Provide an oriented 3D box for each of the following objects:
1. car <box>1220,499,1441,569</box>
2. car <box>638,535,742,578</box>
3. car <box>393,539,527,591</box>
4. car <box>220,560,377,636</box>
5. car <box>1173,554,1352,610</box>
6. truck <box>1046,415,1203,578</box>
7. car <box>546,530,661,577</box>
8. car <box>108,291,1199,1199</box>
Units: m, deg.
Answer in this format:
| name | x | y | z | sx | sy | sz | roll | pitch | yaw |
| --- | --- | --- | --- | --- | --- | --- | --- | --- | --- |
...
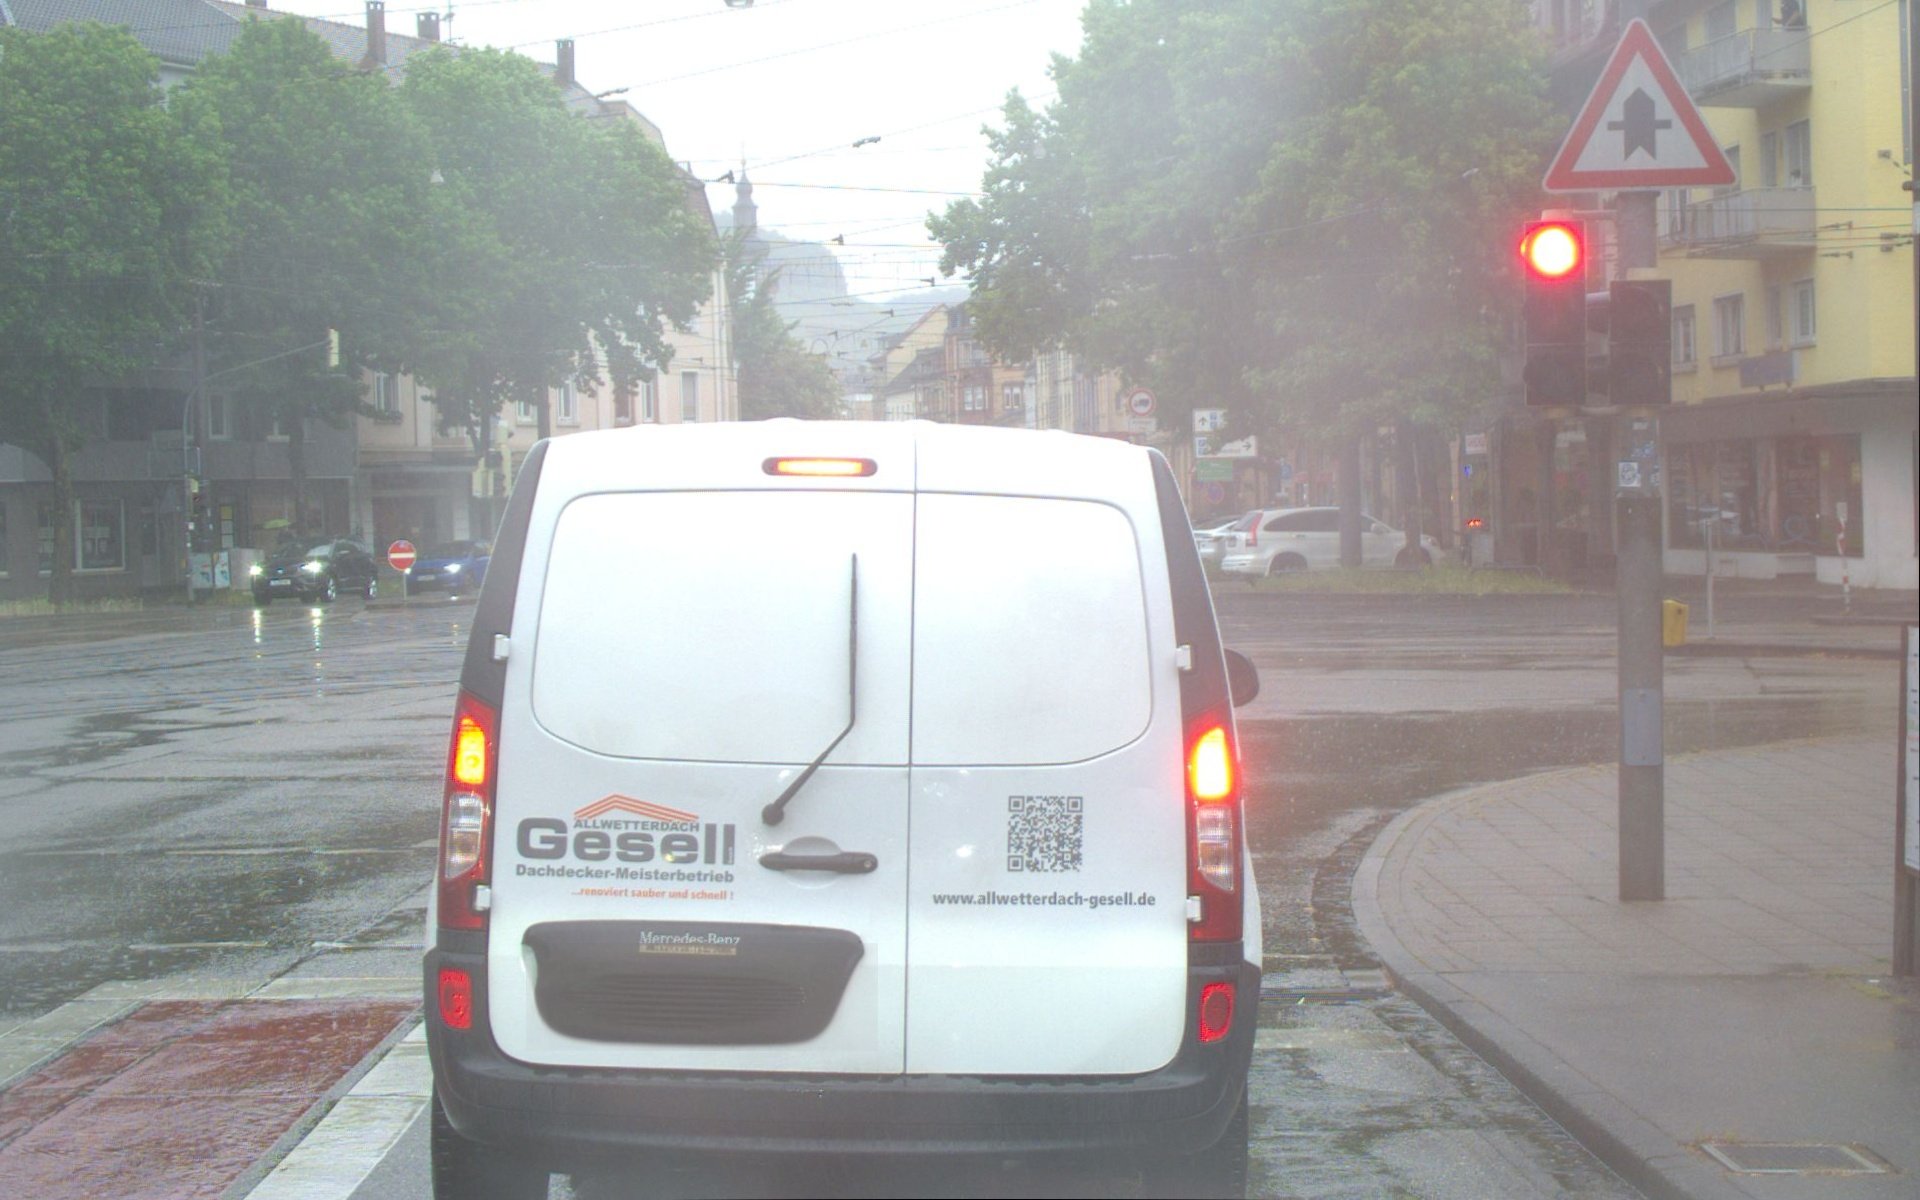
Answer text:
| name | x | y | z | sx | sy | sz | roll | pitch | yaw |
| --- | --- | --- | --- | --- | --- | --- | --- | --- | --- |
| car | 7.422 | -1.335 | 68.950 | 4.165 | 1.334 | 1.521 | -1 | 2 | -7 |
| car | -8.462 | -1.391 | 108.026 | 1.952 | 1.235 | 3.997 | 0 | 2 | 16 |
| car | -13.021 | -0.939 | 89.746 | 1.952 | 1.235 | 3.997 | 0 | 2 | 16 |
| car | -15.325 | -0.076 | 79.801 | 1.952 | 1.602 | 3.997 | 0 | 2 | 16 |
| car | 6.236 | -0.369 | 70.994 | 3.441 | 1.126 | 1.472 | 0 | 1 | -8 |
| truck | 5.645 | -3.344 | 114.593 | 3.471 | 5.070 | 15.301 | 0 | 1 | 9 |
| car | -10.349 | -1.370 | 100.012 | 1.952 | 1.235 | 3.997 | 0 | 2 | 16 |
| car | -0.619 | 0.384 | 9.136 | 2.100 | 2.005 | 4.963 | 0 | 1 | -1 |
